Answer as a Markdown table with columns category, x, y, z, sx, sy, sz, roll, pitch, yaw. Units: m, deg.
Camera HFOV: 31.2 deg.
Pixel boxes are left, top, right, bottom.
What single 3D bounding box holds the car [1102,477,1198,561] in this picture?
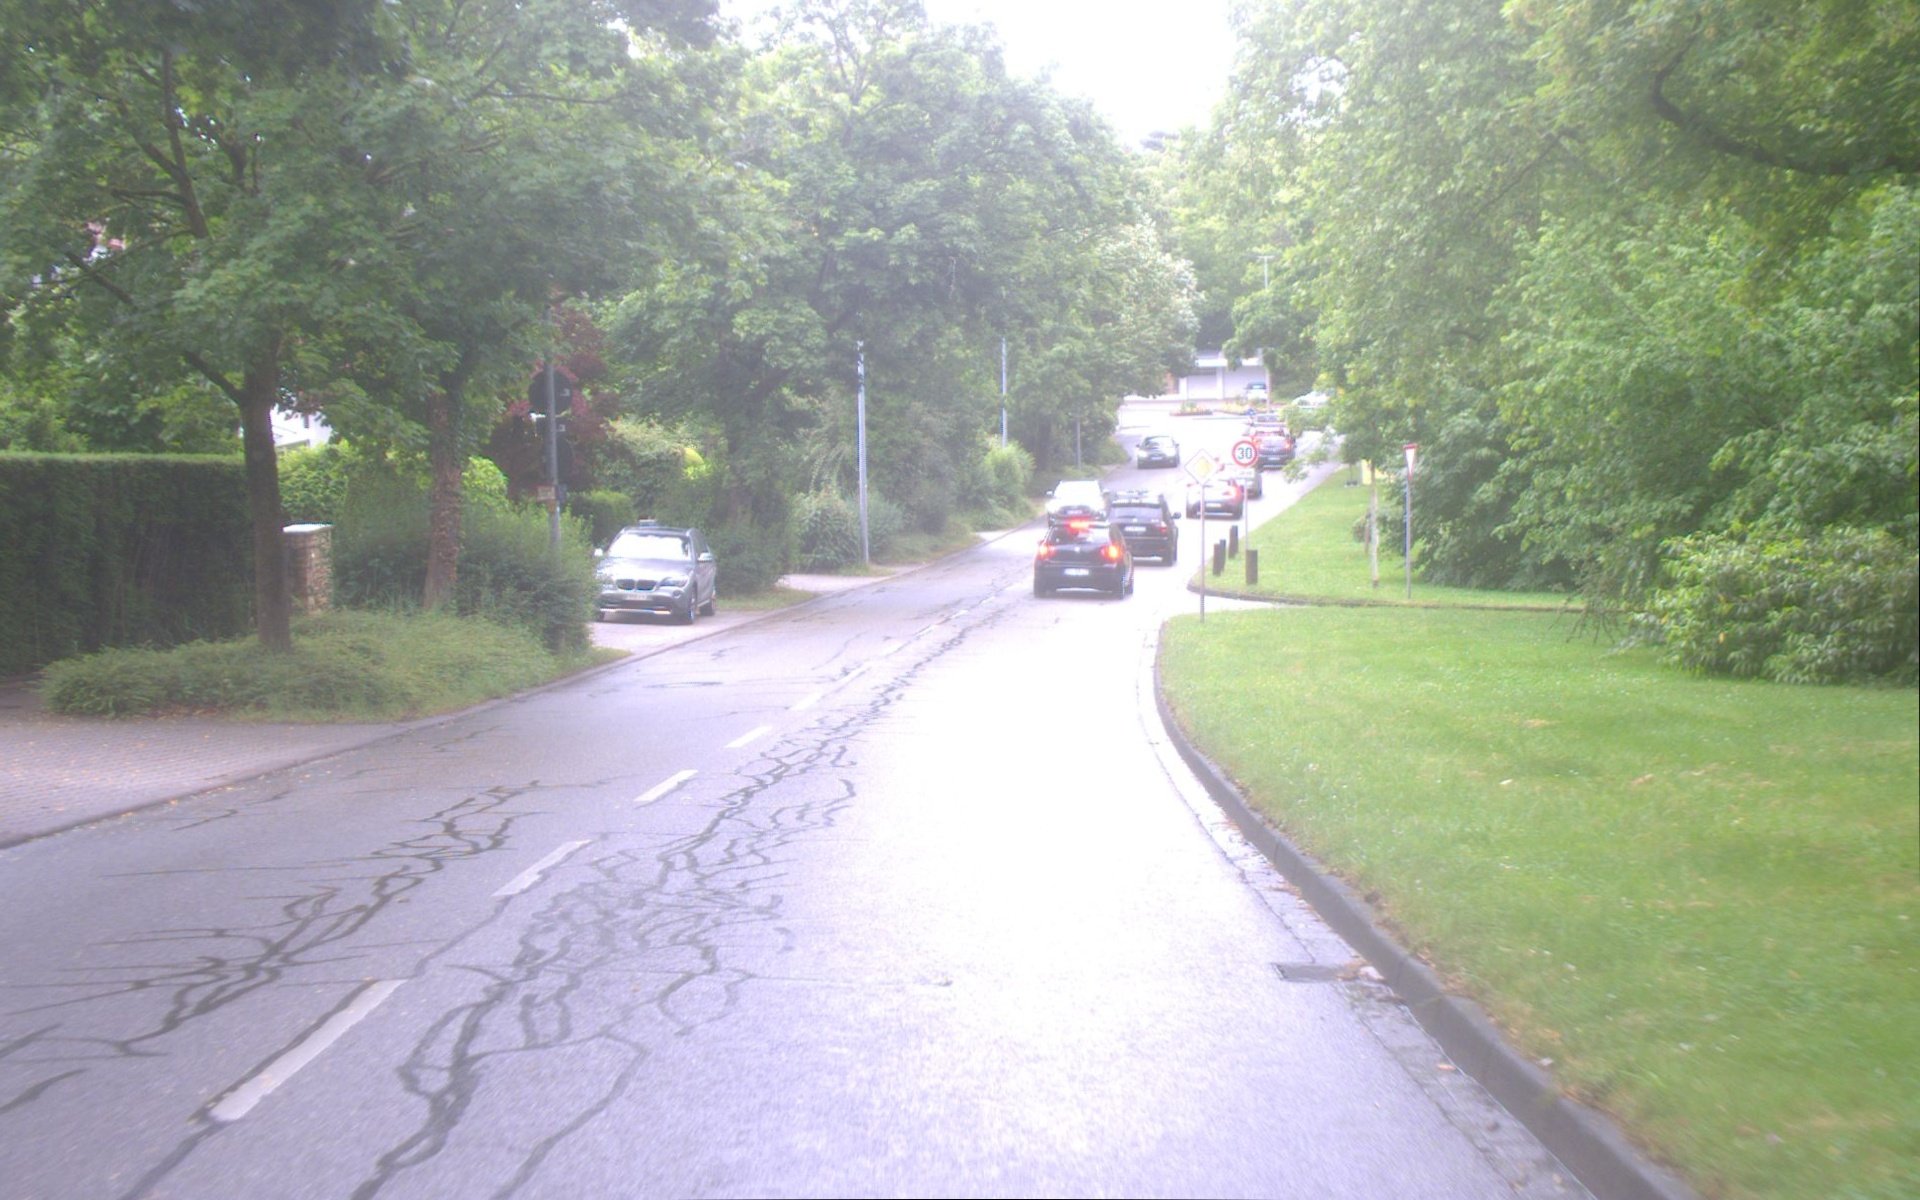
| category | x | y | z | sx | sy | sz | roll | pitch | yaw |
| --- | --- | --- | --- | --- | --- | --- | --- | --- | --- |
| car | 4.622 | -1.988 | 84.197 | 1.993 | 2.007 | 4.001 | 0 | 1 | -2 |

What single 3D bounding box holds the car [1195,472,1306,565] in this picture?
| category | x | y | z | sx | sy | sz | roll | pitch | yaw |
| --- | --- | --- | --- | --- | --- | --- | --- | --- | --- |
| car | 6.421 | -1.801 | 76.319 | 1.993 | 2.007 | 4.001 | 0 | 1 | -2 |

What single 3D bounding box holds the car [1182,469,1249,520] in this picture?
| category | x | y | z | sx | sy | sz | roll | pitch | yaw |
| --- | --- | --- | --- | --- | --- | --- | --- | --- | --- |
| car | 8.736 | -3.603 | 117.712 | 1.856 | 1.686 | 4.001 | 0 | 1 | -2 |

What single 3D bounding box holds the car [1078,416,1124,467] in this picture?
| category | x | y | z | sx | sy | sz | roll | pitch | yaw |
| --- | --- | --- | --- | --- | --- | --- | --- | --- | --- |
| car | 6.370 | -7.187 | 155.534 | 1.993 | 2.006 | 4.002 | 0 | 7 | 1 |

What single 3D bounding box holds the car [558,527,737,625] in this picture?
| category | x | y | z | sx | sy | sz | roll | pitch | yaw |
| --- | --- | --- | --- | --- | --- | --- | --- | --- | --- |
| car | -5.241 | -0.437 | 58.105 | 1.994 | 1.593 | 4.008 | 0 | 1 | 11 |

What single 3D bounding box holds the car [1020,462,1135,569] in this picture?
| category | x | y | z | sx | sy | sz | roll | pitch | yaw |
| --- | --- | --- | --- | --- | --- | --- | --- | --- | --- |
| car | 2.591 | -1.920 | 76.652 | 2.145 | 2.006 | 4.002 | -1 | 7 | -4 |

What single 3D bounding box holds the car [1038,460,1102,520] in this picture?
| category | x | y | z | sx | sy | sz | roll | pitch | yaw |
| --- | --- | --- | --- | --- | --- | --- | --- | --- | --- |
| car | 3.640 | -3.637 | 112.920 | 1.994 | 1.649 | 4.001 | 0 | 7 | 3 |
